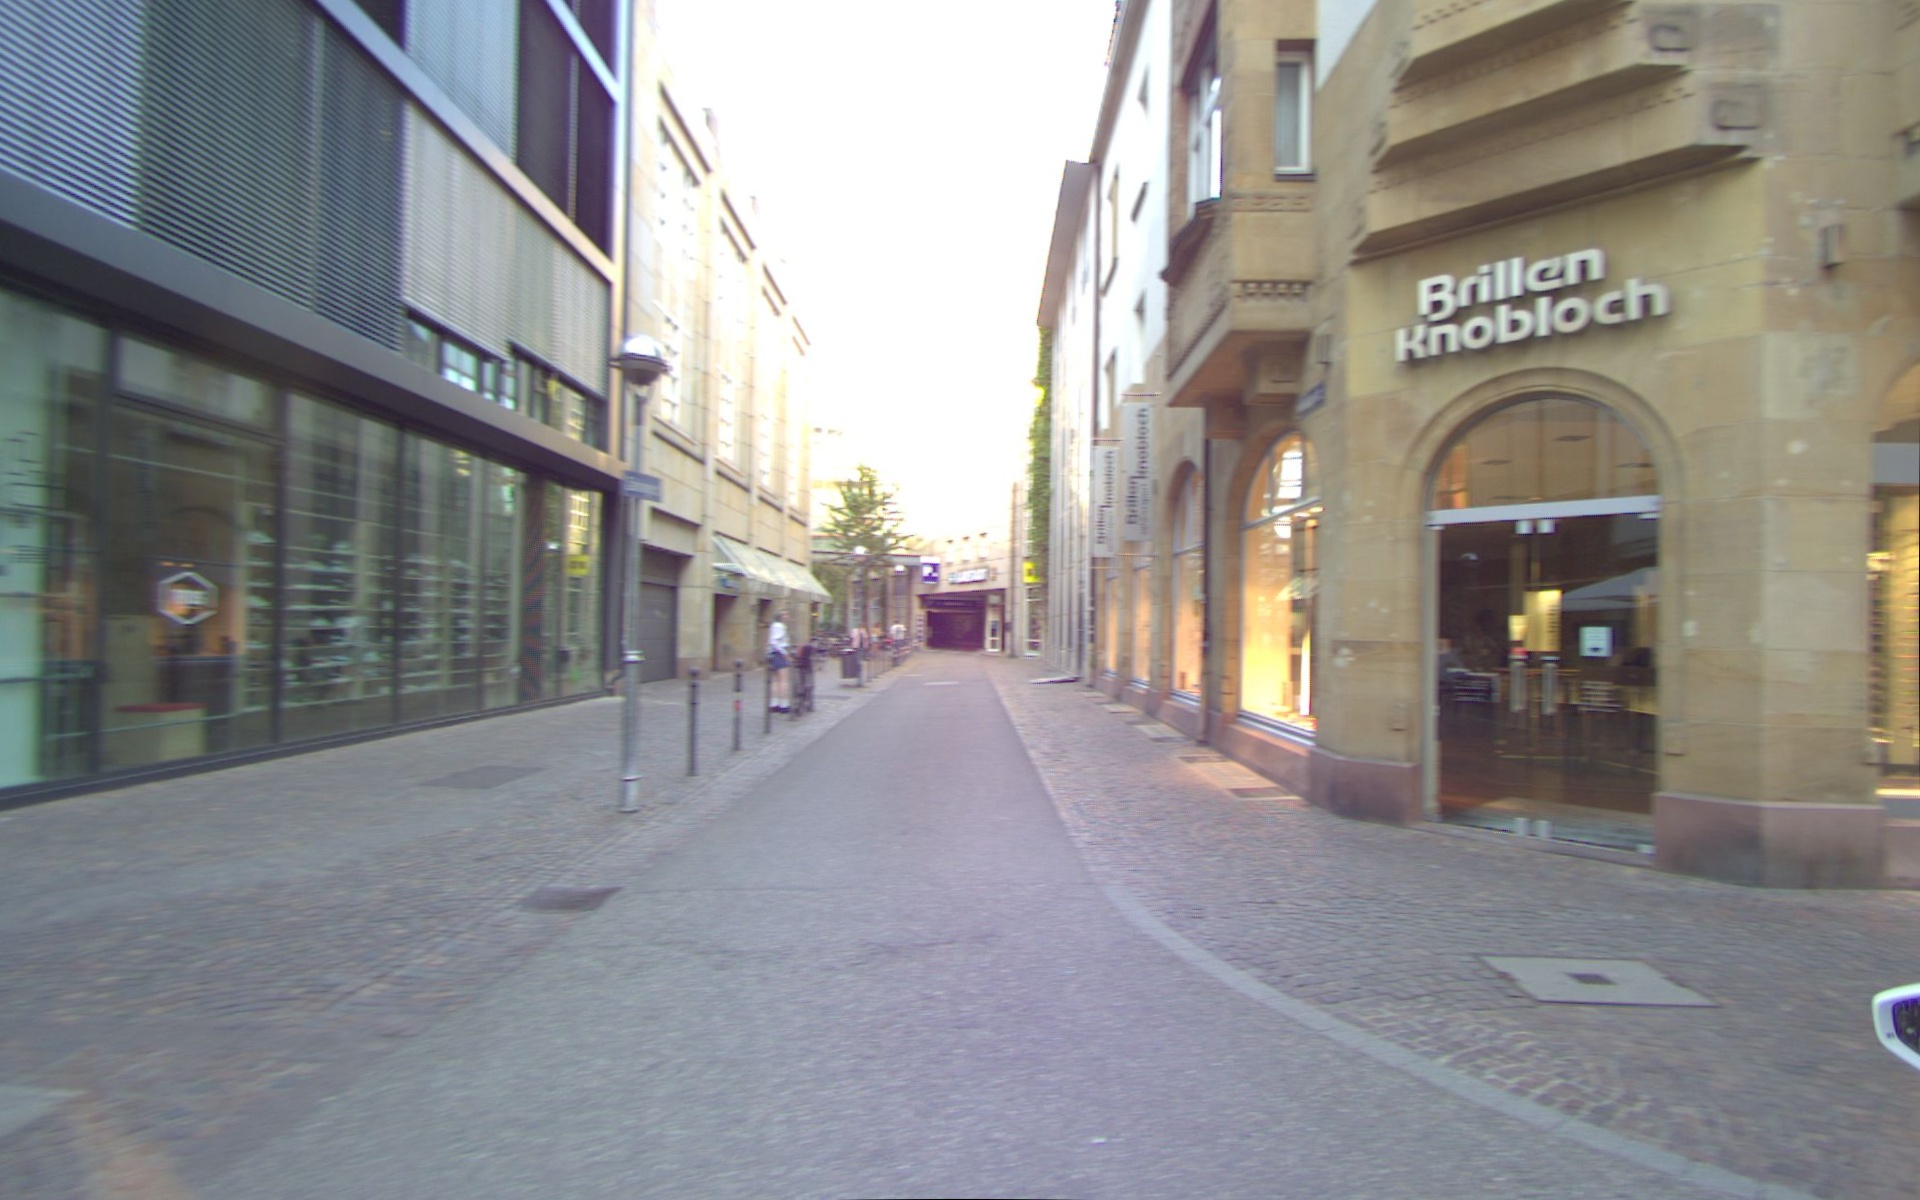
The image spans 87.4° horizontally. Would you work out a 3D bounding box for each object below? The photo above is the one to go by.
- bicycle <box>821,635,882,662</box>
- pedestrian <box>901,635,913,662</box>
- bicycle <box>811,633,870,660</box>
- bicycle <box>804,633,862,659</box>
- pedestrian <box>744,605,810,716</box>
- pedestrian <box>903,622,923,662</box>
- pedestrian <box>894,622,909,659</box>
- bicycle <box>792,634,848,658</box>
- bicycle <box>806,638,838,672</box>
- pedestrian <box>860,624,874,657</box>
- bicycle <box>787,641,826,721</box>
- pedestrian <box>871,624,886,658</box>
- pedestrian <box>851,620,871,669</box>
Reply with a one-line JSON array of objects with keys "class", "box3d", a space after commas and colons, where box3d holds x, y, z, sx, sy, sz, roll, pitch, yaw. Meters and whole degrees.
[{"class": "bicycle", "box3d": [-5.055, 2.258, 46.693, 2.723, 1.216, 0.731, 1, -1, -18]}, {"class": "pedestrian", "box3d": [-2.331, 2.130, 43.991, 0.458, 1.183, 0.522, 1, -2, 2]}, {"class": "bicycle", "box3d": [-5.731, 2.224, 48.091, 2.723, 1.216, 0.731, 1, -1, -18]}, {"class": "bicycle", "box3d": [-6.177, 2.232, 48.998, 2.723, 1.216, 0.731, 1, -1, -18]}, {"class": "pedestrian", "box3d": [-3.085, 1.001, 16.947, 0.903, 1.814, 0.603, 2, -2, -41]}, {"class": "pedestrian", "box3d": [-2.150, 1.913, 46.073, 0.849, 1.780, 0.799, 1, -2, 2]}, {"class": "pedestrian", "box3d": [-2.825, 1.949, 48.722, 0.620, 1.780, 0.799, 1, -2, 2]}, {"class": "bicycle", "box3d": [-7.120, 2.342, 51.041, 2.723, 1.216, 0.731, 1, -1, -18]}, {"class": "bicycle", "box3d": [-4.609, 1.816, 33.652, 0.472, 1.095, 2.244, 1, -2, 7]}, {"class": "pedestrian", "box3d": [-4.613, 2.001, 49.967, 0.580, 1.625, 0.666, 1, -2, 2]}, {"class": "bicycle", "box3d": [-2.566, 1.320, 16.885, 0.405, 1.248, 1.827, 1, -1, -2]}, {"class": "pedestrian", "box3d": [-3.982, 1.988, 49.095, 0.575, 1.625, 0.628, 1, -2, 2]}, {"class": "pedestrian", "box3d": [-3.646, 1.646, 37.004, 0.647, 1.787, 0.615, 1, -1, -13]}]
